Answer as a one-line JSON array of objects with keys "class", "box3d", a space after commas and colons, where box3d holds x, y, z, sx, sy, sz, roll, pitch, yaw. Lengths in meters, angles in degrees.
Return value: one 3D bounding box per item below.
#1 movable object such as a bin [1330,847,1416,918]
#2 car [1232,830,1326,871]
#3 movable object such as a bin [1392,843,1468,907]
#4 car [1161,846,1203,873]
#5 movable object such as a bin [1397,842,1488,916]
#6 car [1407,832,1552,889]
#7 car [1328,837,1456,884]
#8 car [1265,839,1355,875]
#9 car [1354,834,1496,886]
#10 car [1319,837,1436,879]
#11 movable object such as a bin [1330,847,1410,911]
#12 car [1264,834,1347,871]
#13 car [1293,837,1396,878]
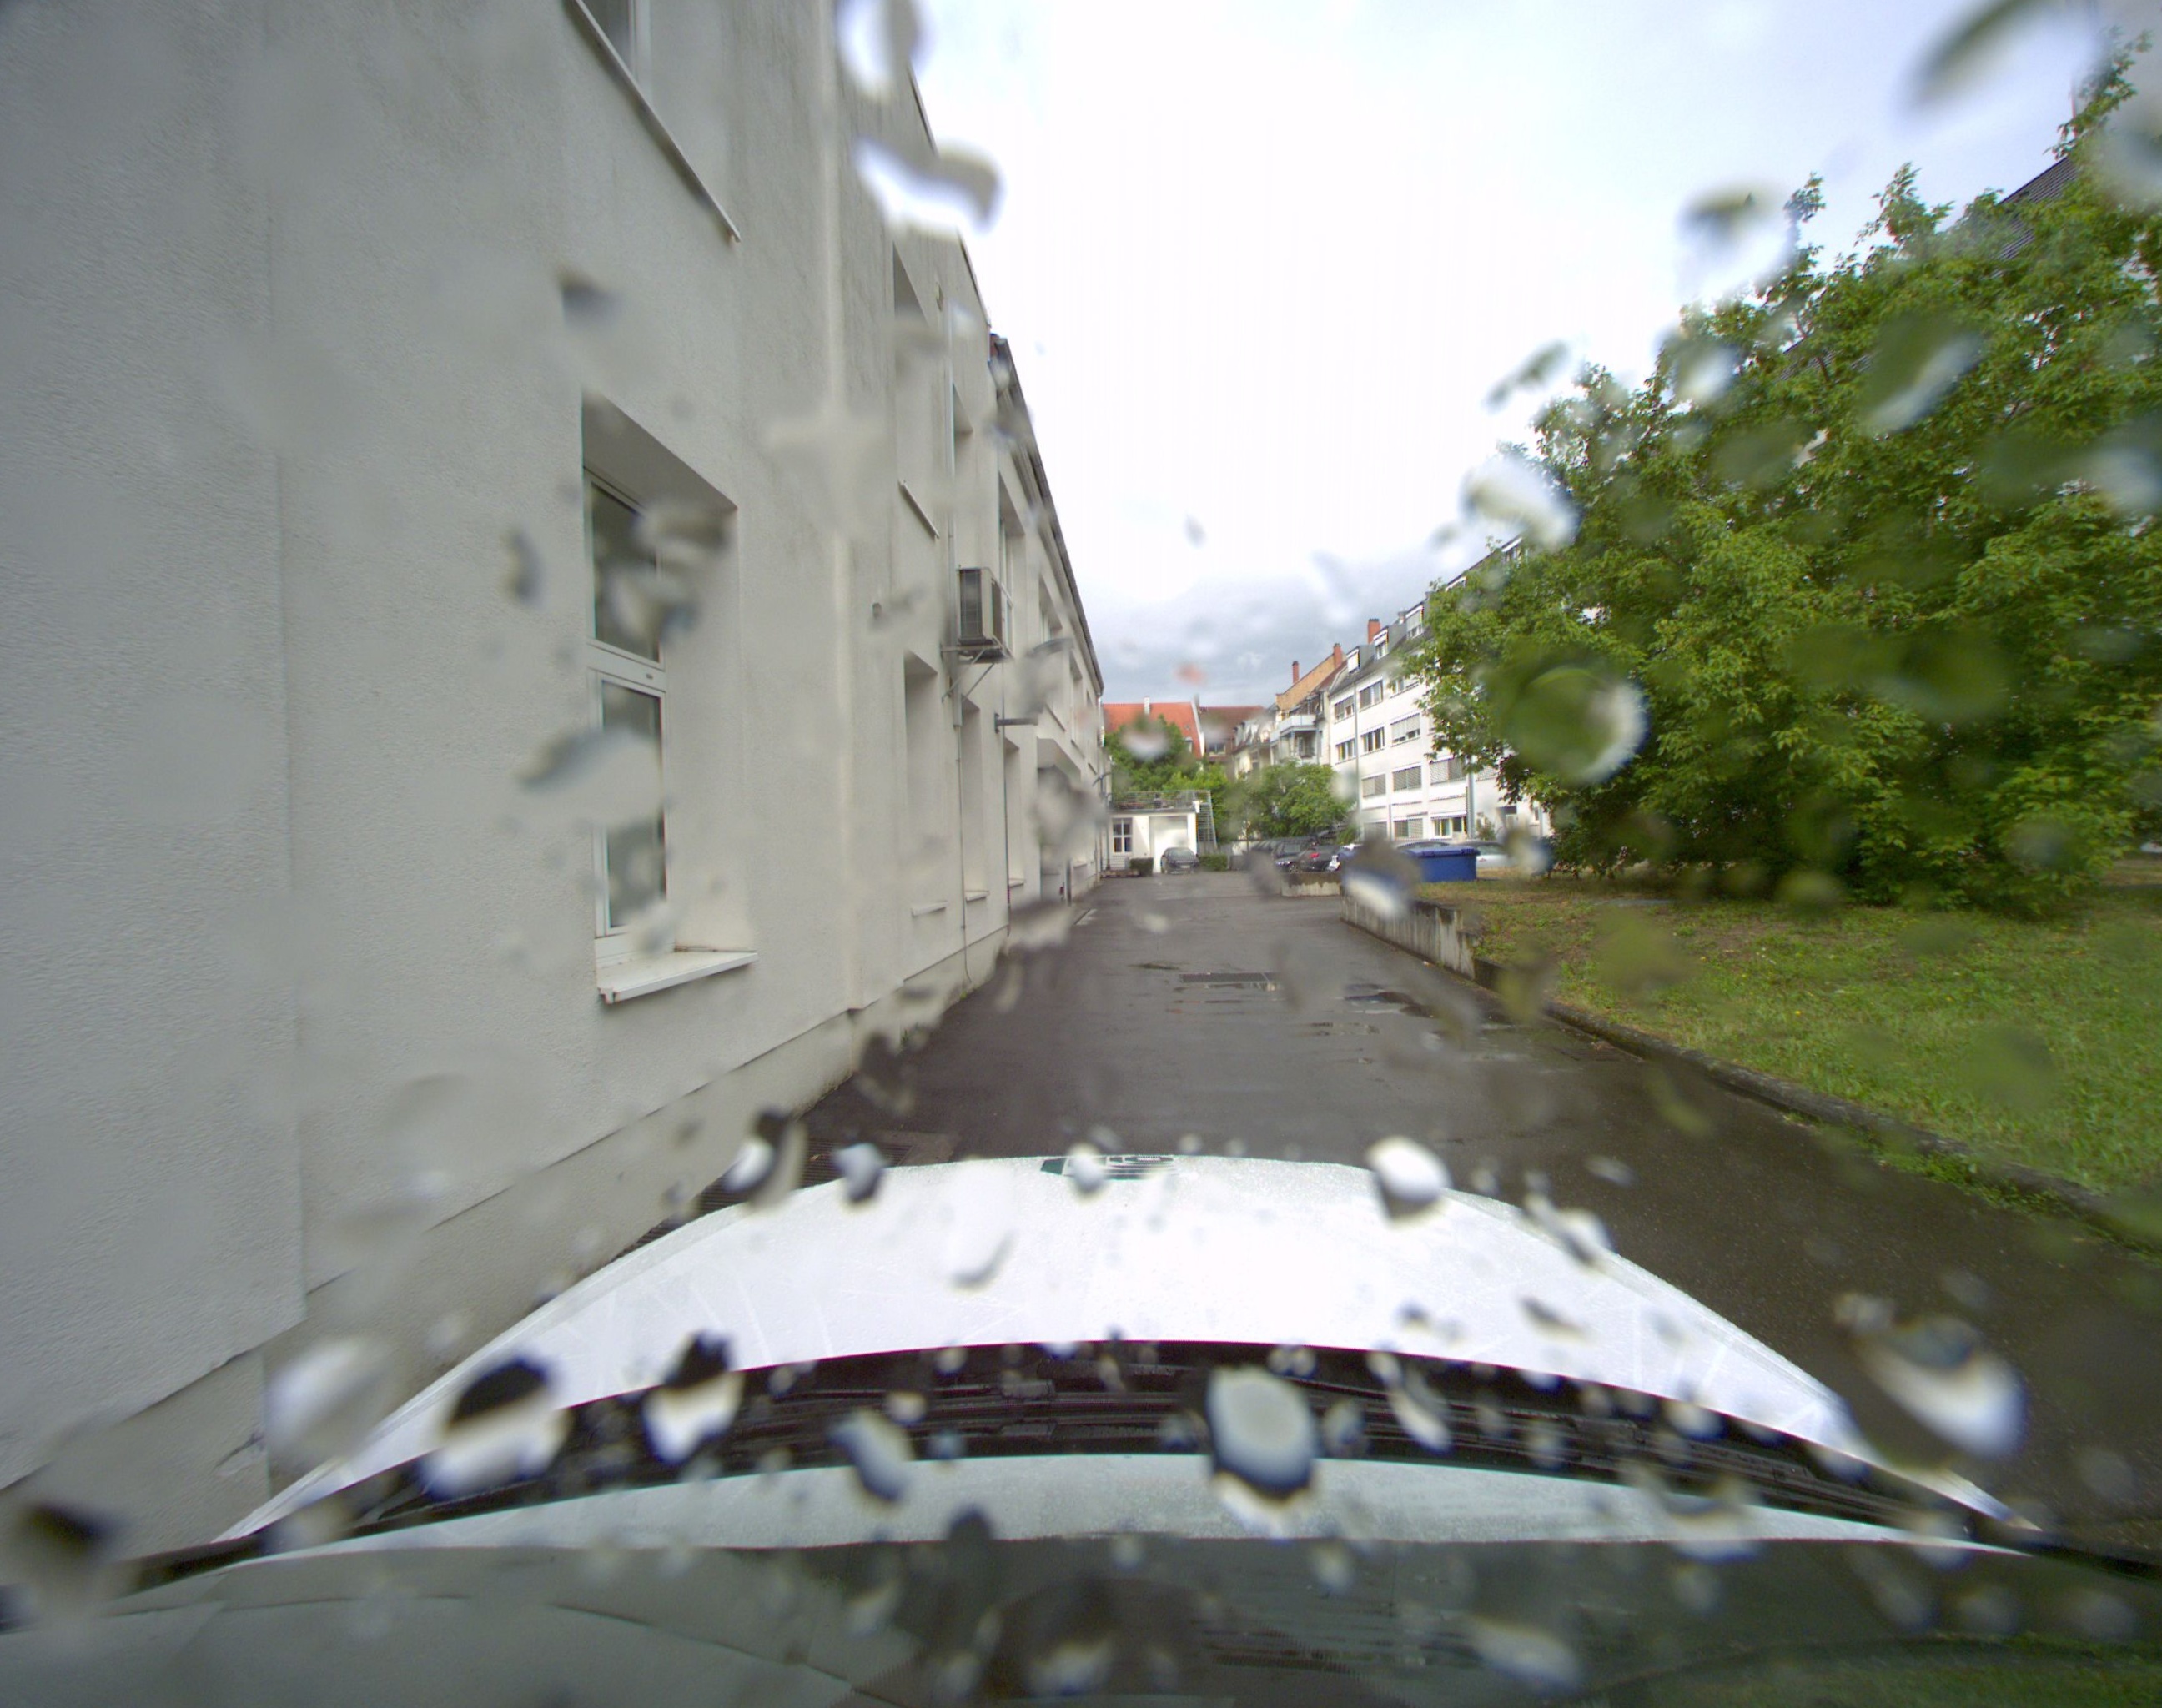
[{"class": "movable object such as a bin", "box3d": [5.712, 0.537, 16.024, 1.331, 1.292, 1.097, -3, 1, 6]}, {"class": "car", "box3d": [11.204, -0.226, 46.222, 4.630, 2.003, 2.220, -3, 1, -7]}, {"class": "movable object such as a bin", "box3d": [7.555, 0.437, 17.701, 1.180, 1.304, 1.108, -3, 0, 5]}, {"class": "car", "box3d": [5.690, 0.288, 46.224, 1.971, 1.444, 4.002, -2, 0, 2]}, {"class": "movable object such as a bin", "box3d": [7.055, 0.465, 15.992, 1.286, 1.336, 1.199, -3, 0, 6]}, {"class": "car", "box3d": [11.733, 0.181, 24.132, 3.403, 1.427, 1.688, -4, 0, 1]}, {"class": "car", "box3d": [11.389, 0.221, 29.988, 3.975, 1.403, 1.772, -4, 1, -1]}, {"class": "car", "box3d": [11.293, 0.140, 40.320, 3.898, 1.513, 1.751, -3, 0, -1]}, {"class": "car", "box3d": [11.436, 0.191, 27.255, 3.973, 1.445, 1.807, -3, 0, 0]}, {"class": "car", "box3d": [11.778, 0.157, 32.476, 3.976, 1.458, 1.772, -3, 0, -2]}, {"class": "movable object such as a bin", "box3d": [6.260, 0.528, 17.729, 1.365, 1.304, 1.085, -3, 0, 6]}, {"class": "car", "box3d": [11.895, -0.075, 43.346, 3.893, 1.687, 1.818, -3, 0, 2]}, {"class": "car", "box3d": [11.509, 0.157, 35.722, 3.900, 1.513, 1.817, -3, 0, -4]}]
